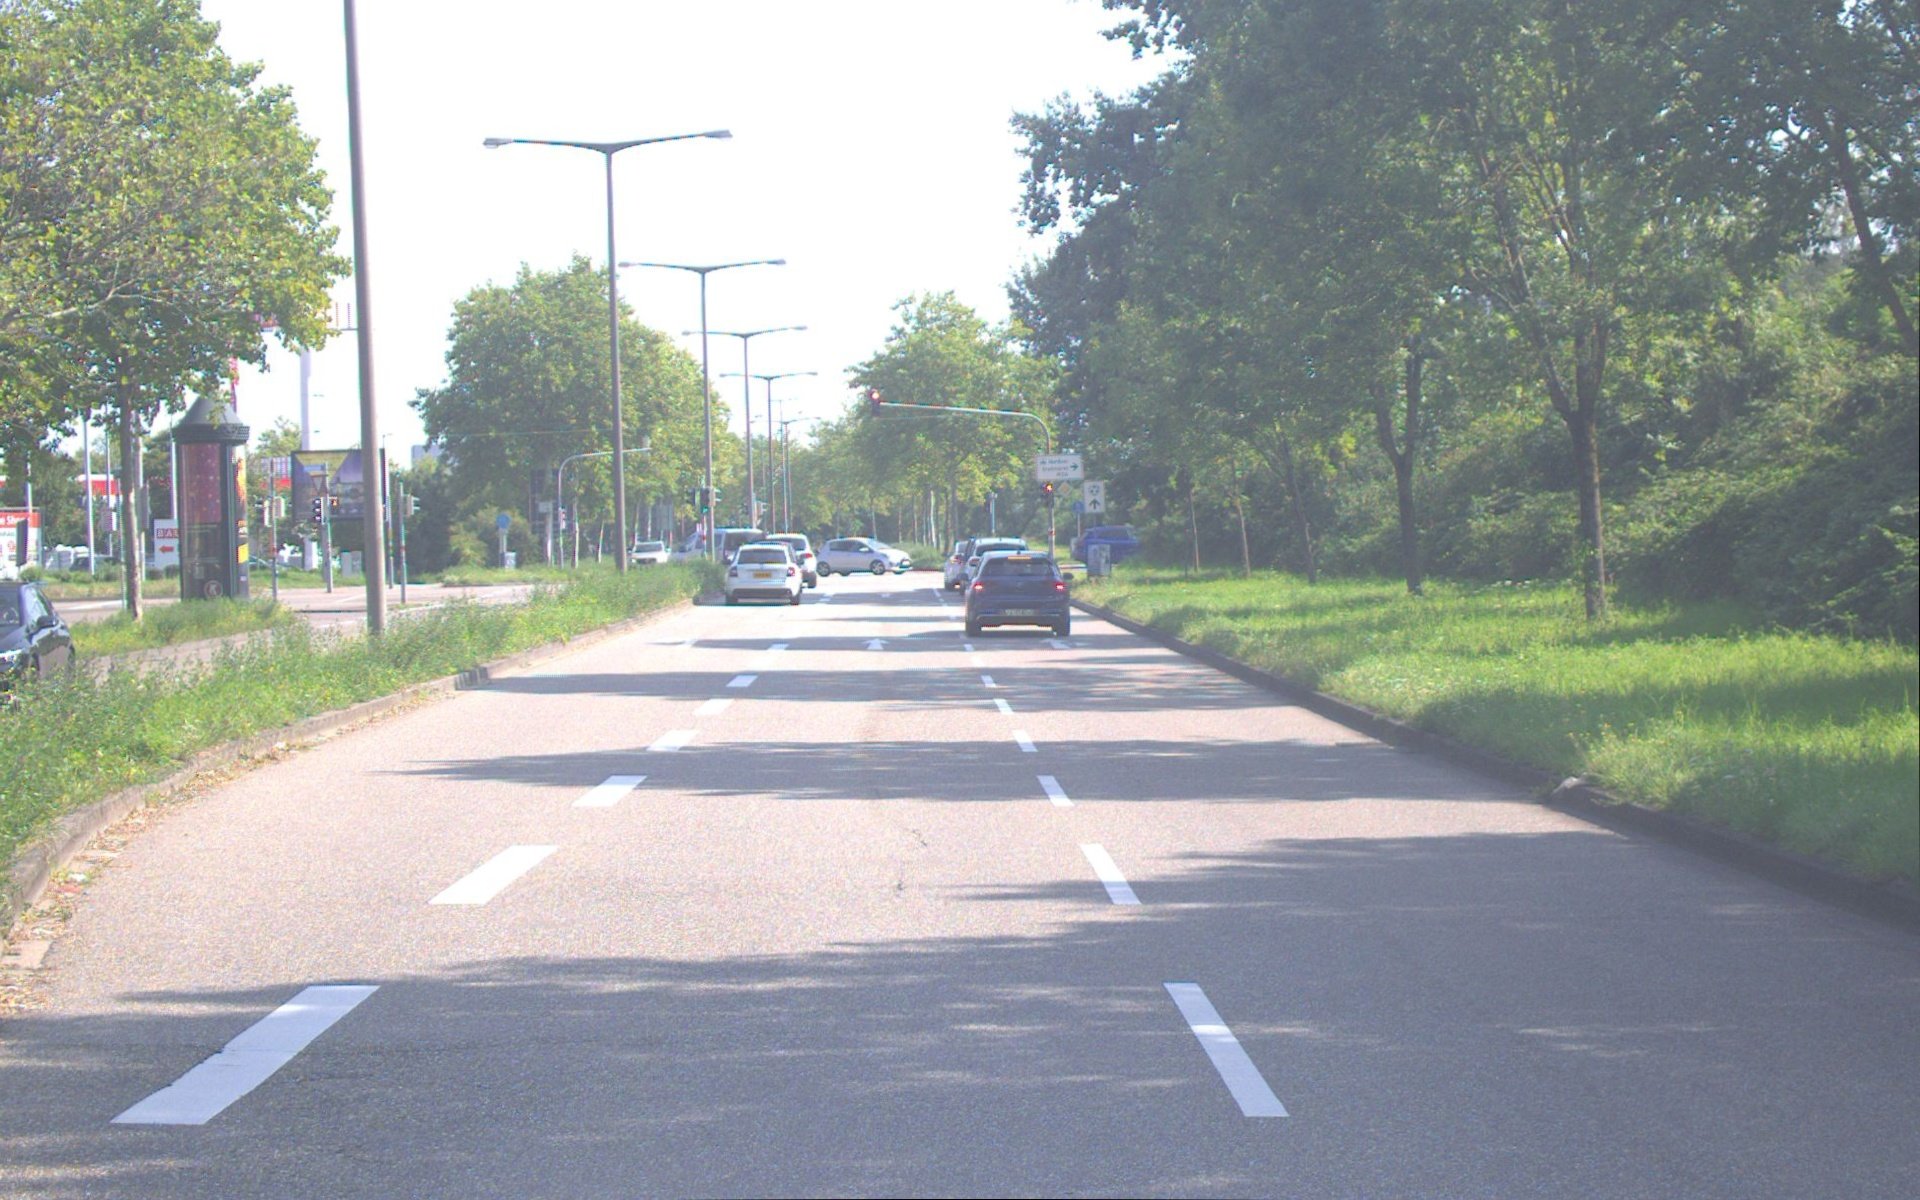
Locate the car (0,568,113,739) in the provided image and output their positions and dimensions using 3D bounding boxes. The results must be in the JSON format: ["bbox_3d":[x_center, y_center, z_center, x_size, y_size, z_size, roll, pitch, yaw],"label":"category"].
[{"bbox_3d":[-10.700,0.537,37.572,1.993,1.556,4.001,0,3,-2],"label":"car"}]

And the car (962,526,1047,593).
[{"bbox_3d":[1.127,-1.042,88.314,1.993,1.648,4.000,-2,1,-1],"label":"car"}]

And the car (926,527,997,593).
[{"bbox_3d":[0.036,-1.196,101.278,1.993,1.648,4.001,0,5,-1],"label":"car"}]

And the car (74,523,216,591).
[{"bbox_3d":[-26.200,-1.397,110.551,3.989,2.006,1.999,-2,5,-41],"label":"car"}]

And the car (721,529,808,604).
[{"bbox_3d":[-4.701,-0.799,82.547,1.993,1.696,4.001,-2,1,-3],"label":"car"}]

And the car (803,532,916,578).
[{"bbox_3d":[-3.878,-1.739,132.879,3.990,1.625,1.698,-1,1,15],"label":"car"}]

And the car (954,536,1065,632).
[{"bbox_3d":[0.821,-0.311,59.407,1.780,1.423,4.001,0,3,-1],"label":"car"}]

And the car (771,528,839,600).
[{"bbox_3d":[-4.744,-1.134,105.785,1.993,2.006,4.001,0,3,-1],"label":"car"}]
